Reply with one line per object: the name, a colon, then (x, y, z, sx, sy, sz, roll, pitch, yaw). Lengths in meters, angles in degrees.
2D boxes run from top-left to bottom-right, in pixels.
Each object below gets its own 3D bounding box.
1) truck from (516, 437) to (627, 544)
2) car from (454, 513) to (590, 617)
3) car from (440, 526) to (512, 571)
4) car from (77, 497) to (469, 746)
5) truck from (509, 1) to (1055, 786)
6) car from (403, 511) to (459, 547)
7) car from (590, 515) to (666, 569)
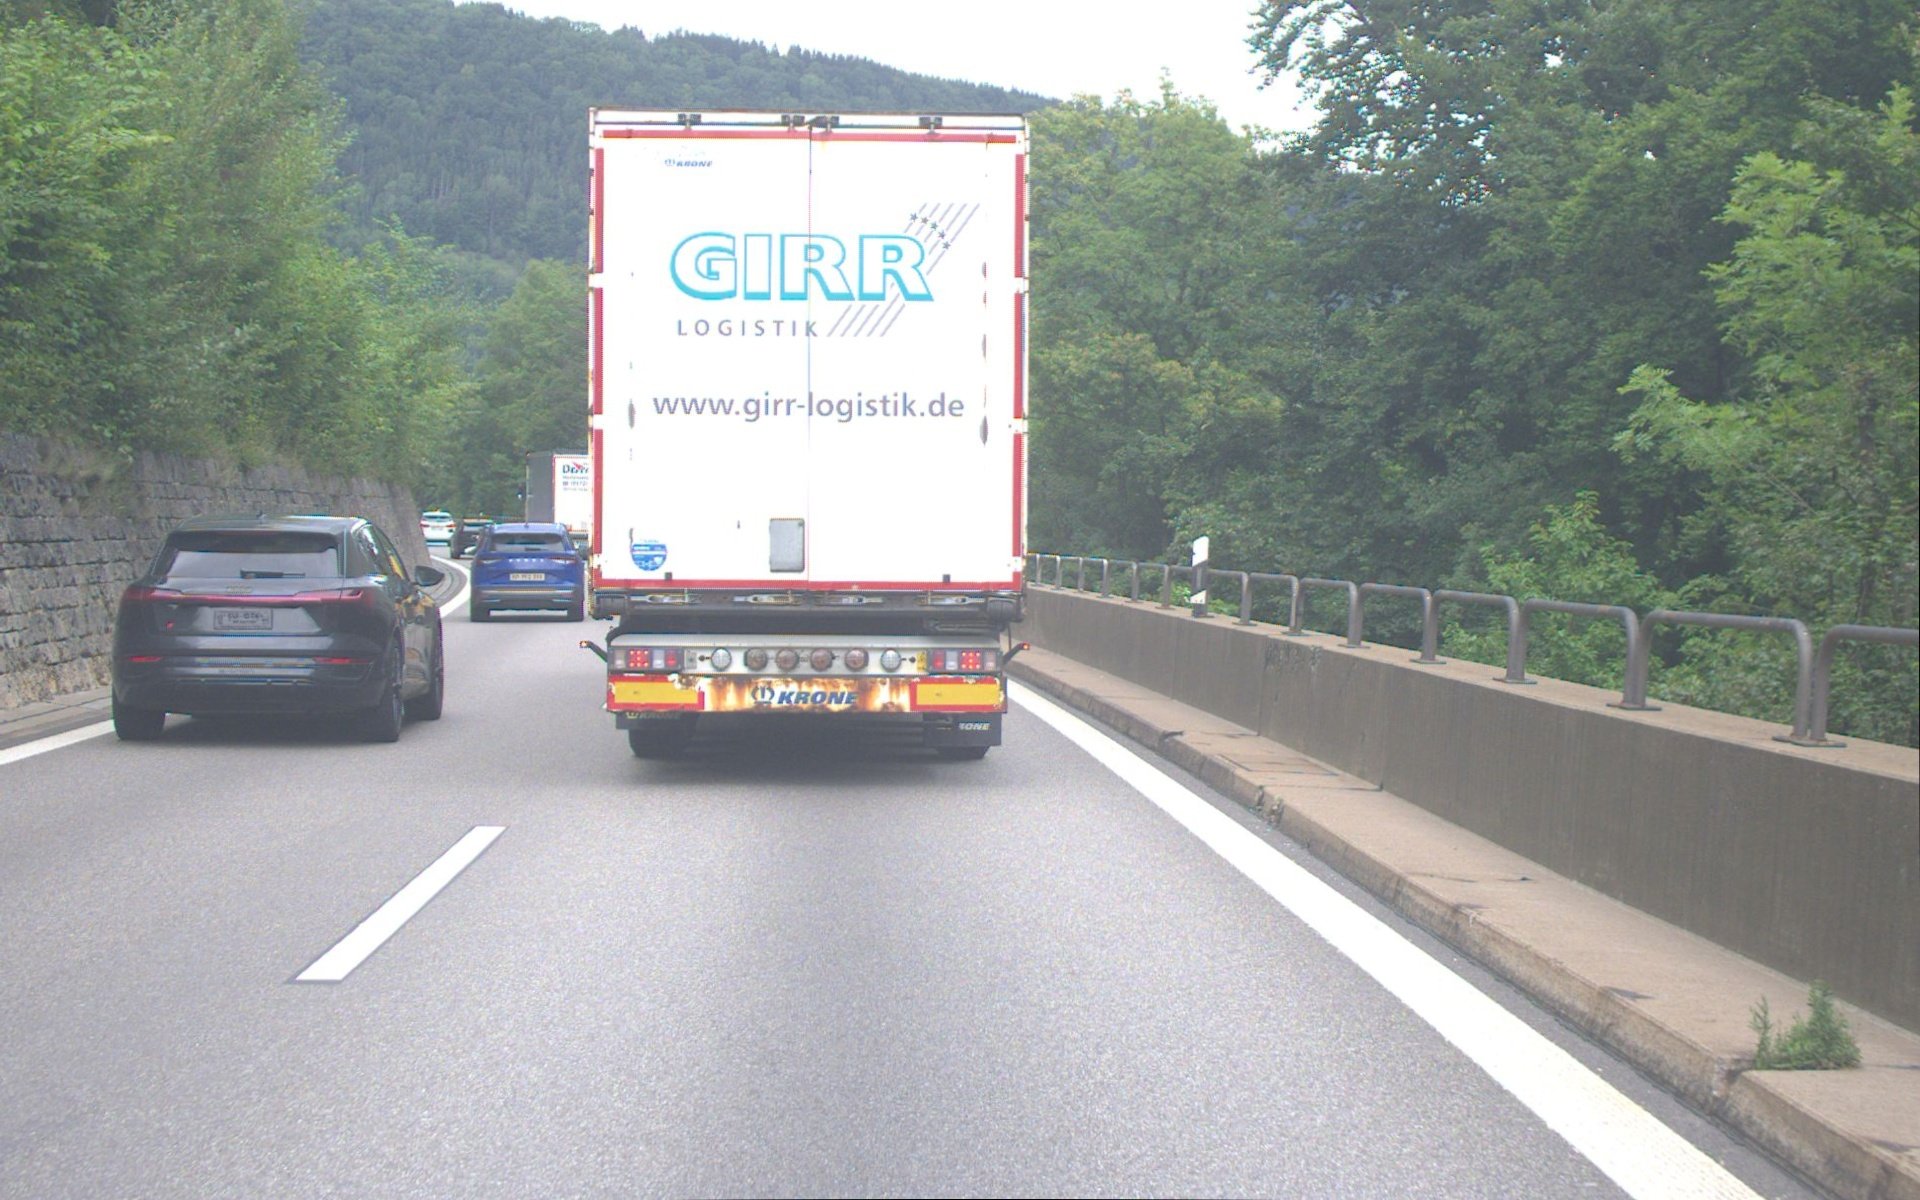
truck: (-14.850, -4.076, 130.651, 2.633, 3.844, 12.363, 0, 1, -14)
car: (-7.297, -0.611, 56.873, 1.993, 1.626, 5.010, 0, 1, -10)
car: (-17.743, -1.901, 125.904, 1.993, 1.590, 4.355, -1, 2, -16)
car: (-4.952, 0.103, 25.507, 1.993, 1.626, 5.009, 1, 1, -1)
truck: (-1.262, -1.301, 27.187, 3.084, 4.449, 15.157, 0, 1, -2)
car: (-24.499, -3.302, 159.235, 1.896, 1.545, 4.251, 1, 1, -17)
car: (-10.499, -1.834, 108.523, 2.060, 1.648, 4.001, 0, 1, -10)
